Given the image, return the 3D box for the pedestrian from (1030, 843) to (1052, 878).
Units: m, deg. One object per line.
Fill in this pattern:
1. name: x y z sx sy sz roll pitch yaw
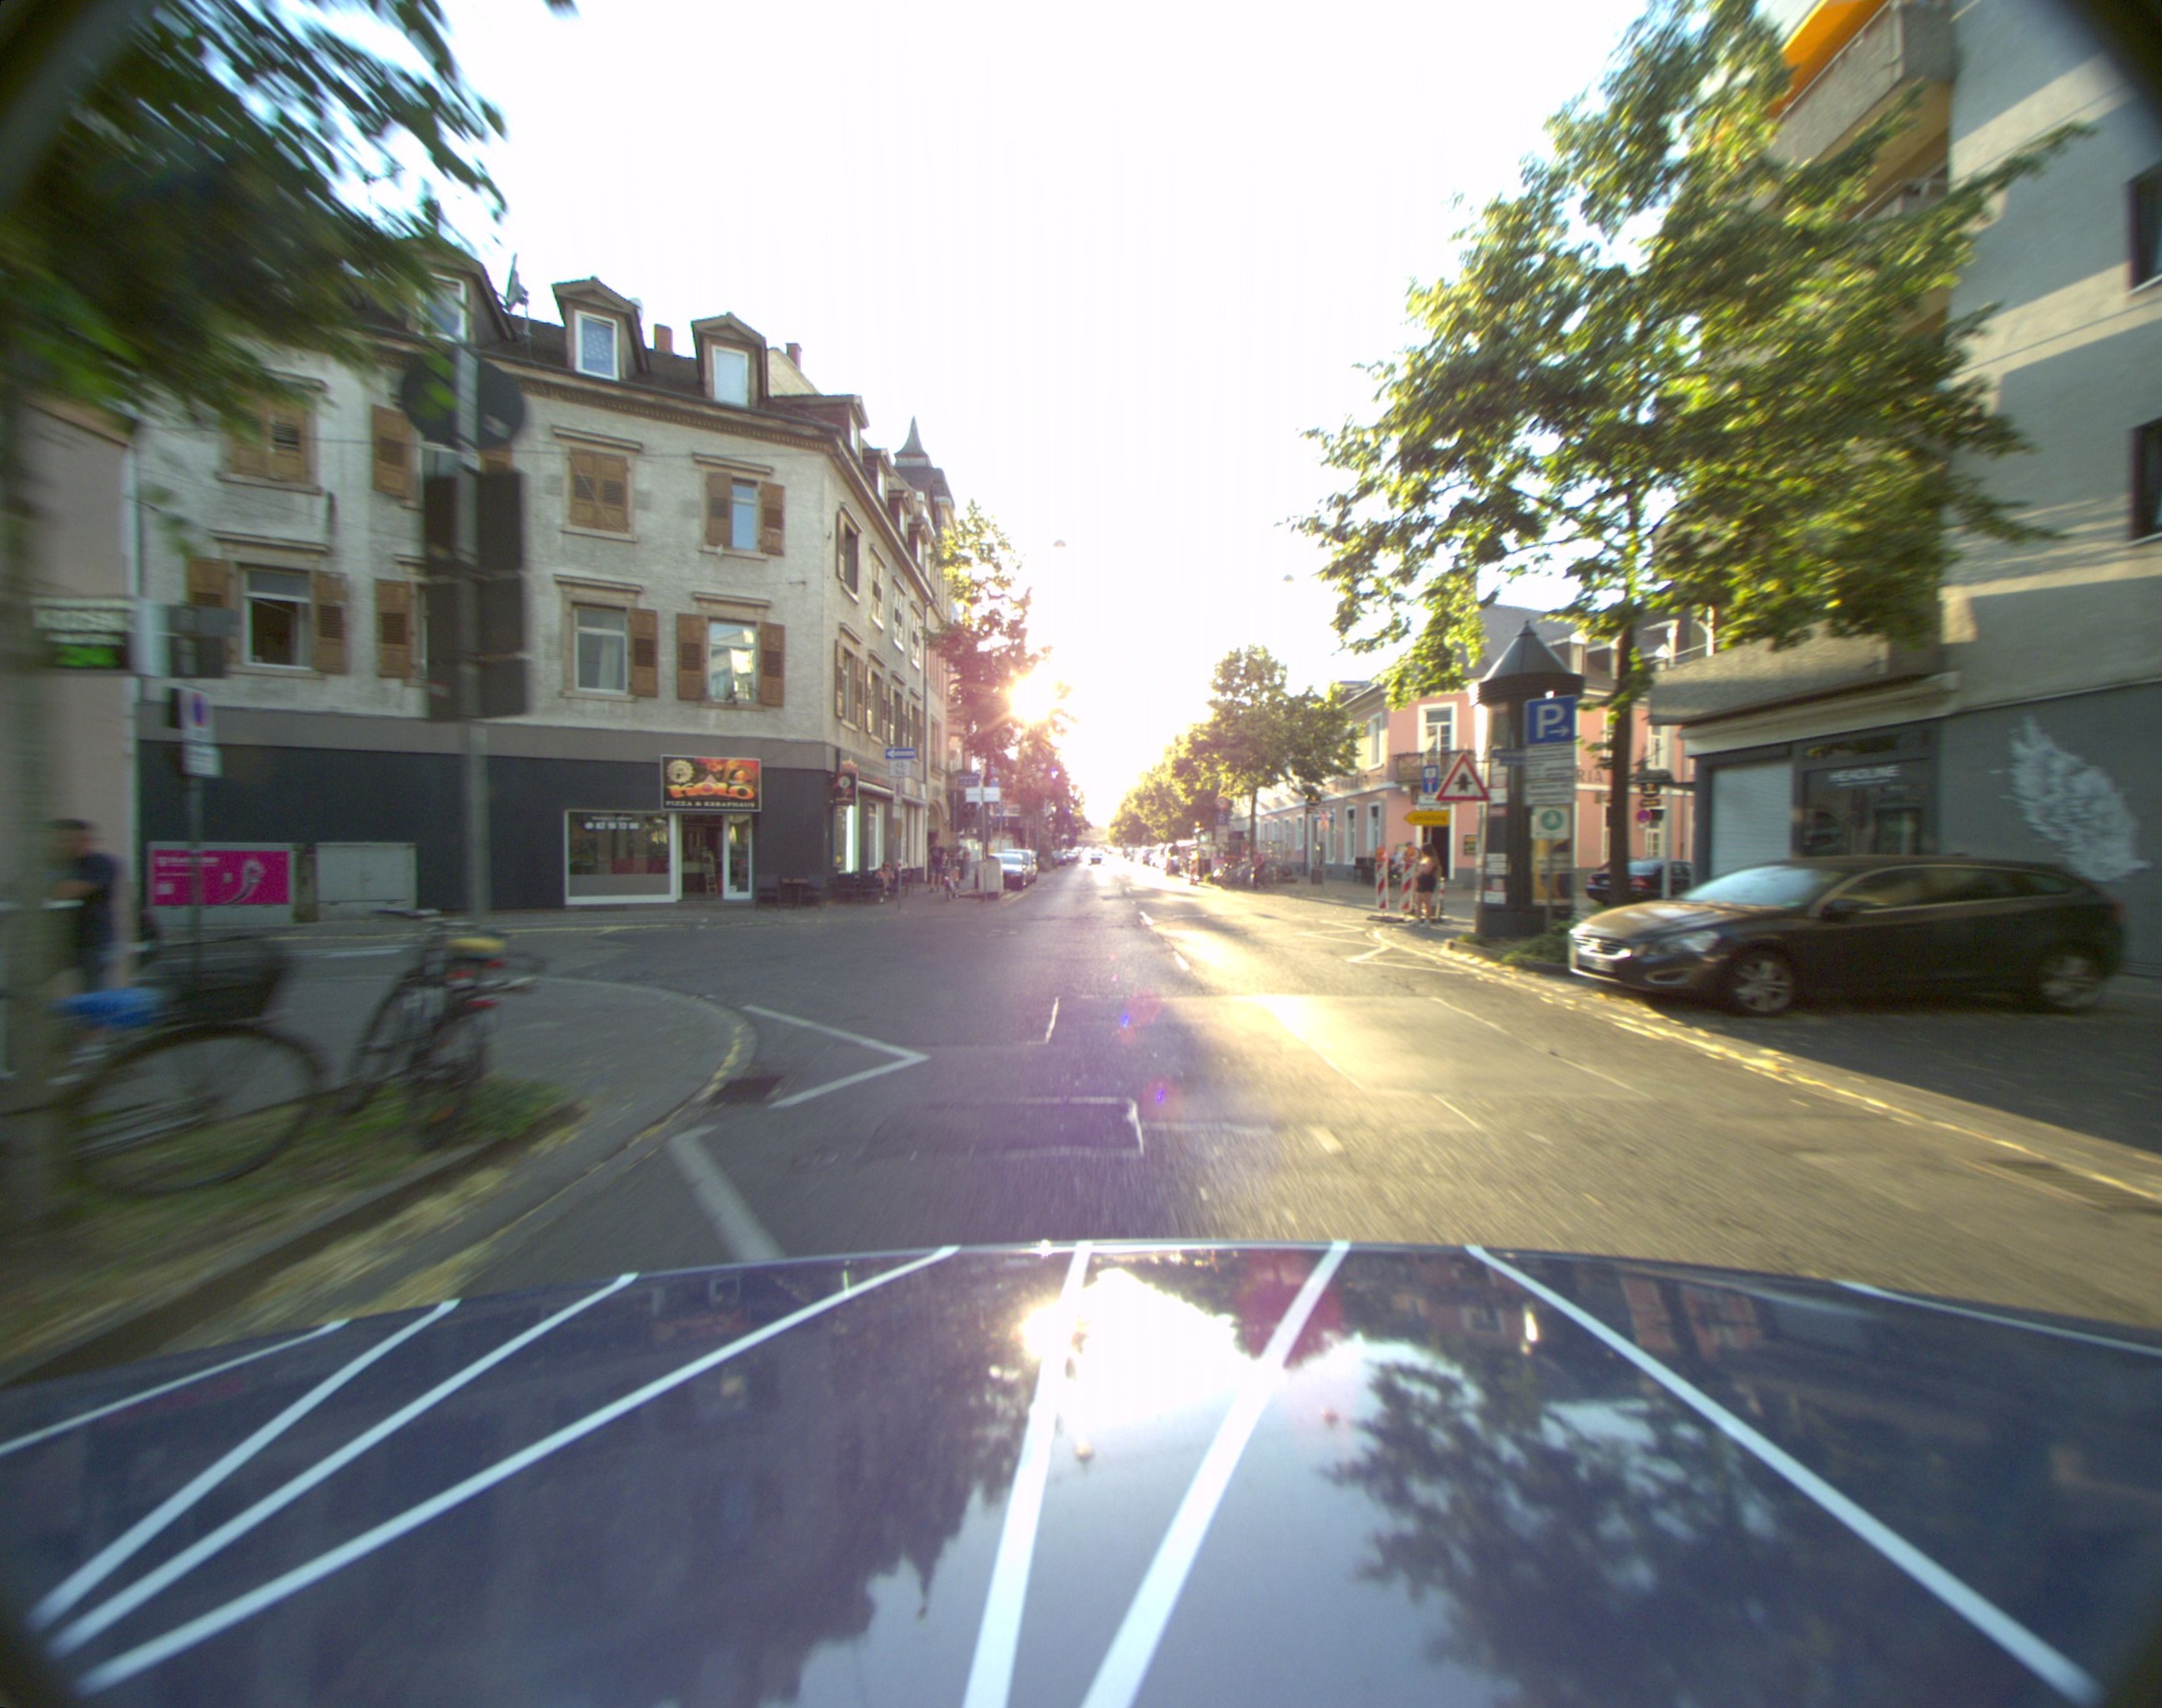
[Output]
1. pedestrian: -2.180 0.353 41.285 1.017 1.815 0.779 3 1 -9

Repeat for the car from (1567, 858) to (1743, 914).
1. car: 15.879 0.821 21.046 4.213 1.372 1.996 0 1 -22

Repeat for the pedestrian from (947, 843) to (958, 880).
1. pedestrian: -6.480 0.363 38.223 0.462 1.864 0.500 1 1 -14

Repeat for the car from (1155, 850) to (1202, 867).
1. car: 8.629 0.371 67.469 3.932 1.492 1.905 -1 0 3

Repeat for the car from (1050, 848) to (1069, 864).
1. car: -2.135 0.149 76.591 1.833 1.479 4.848 2 0 -1

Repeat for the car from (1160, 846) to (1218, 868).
1. car: 8.149 0.220 57.618 4.139 1.627 1.860 -1 0 2

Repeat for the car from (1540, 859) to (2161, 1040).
1. car: 7.461 0.861 7.681 4.558 1.532 1.811 -1 1 0

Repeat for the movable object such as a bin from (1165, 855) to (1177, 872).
1. movable object such as a bin: 5.896 0.630 49.872 0.691 1.099 0.883 1 1 3

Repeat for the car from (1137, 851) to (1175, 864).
1. car: 8.440 0.389 85.575 4.047 1.475 1.963 0 0 1

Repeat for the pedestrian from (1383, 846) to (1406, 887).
1. pedestrian: 12.811 0.495 31.058 0.506 1.641 0.720 0 3 -9

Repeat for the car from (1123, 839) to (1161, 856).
1. car: 9.456 -1.041 118.457 5.672 2.606 2.171 -1 1 1

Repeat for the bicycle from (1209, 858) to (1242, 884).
1. bicycle: 6.639 0.770 34.823 1.551 1.110 0.443 -3 2 -32

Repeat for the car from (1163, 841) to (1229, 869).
1. car: 8.277 0.064 54.983 4.495 1.964 1.965 -1 0 -1

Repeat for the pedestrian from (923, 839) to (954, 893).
1. pedestrian: -5.085 0.421 27.179 0.825 1.843 1.097 3 1 -1

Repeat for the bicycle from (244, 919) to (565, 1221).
1. bicycle: -3.505 0.943 3.885 1.955 1.067 0.707 0 1 33

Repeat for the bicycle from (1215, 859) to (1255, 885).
1. bicycle: 6.874 0.817 33.929 1.687 1.072 0.444 -2 2 0

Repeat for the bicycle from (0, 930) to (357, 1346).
1. bicycle: -3.614 0.924 2.388 0.598 1.171 1.849 0 1 20

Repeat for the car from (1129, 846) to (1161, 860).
1. car: 9.049 -0.101 107.851 4.510 1.942 1.919 0 1 3

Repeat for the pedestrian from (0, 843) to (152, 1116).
1. pedestrian: -6.506 0.723 4.733 0.568 1.574 0.663 2 0 1

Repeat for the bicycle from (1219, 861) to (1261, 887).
1. bicycle: 6.684 0.857 32.022 1.686 1.016 0.444 -2 2 9

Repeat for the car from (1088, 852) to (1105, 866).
1. car: 1.543 0.478 76.914 1.684 1.453 4.071 0 0 0

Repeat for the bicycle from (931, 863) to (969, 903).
1. bicycle: -3.983 0.856 23.303 0.780 1.105 1.899 2 1 1

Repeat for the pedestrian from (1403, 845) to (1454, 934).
1. pedestrian: 6.738 0.675 14.779 0.711 1.676 0.834 0 1 10

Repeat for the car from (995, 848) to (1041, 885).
1. car: -2.886 0.533 35.504 1.691 1.566 4.013 3 0 1

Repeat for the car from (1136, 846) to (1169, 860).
1. car: 9.166 -0.110 97.479 4.147 1.796 1.807 0 0 3

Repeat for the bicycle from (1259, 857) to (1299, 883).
1. bicycle: 8.838 0.704 33.926 1.686 1.142 0.444 -1 2 4

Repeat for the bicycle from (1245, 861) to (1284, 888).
1. bicycle: 7.581 0.857 31.453 1.491 1.053 0.470 -1 2 -5

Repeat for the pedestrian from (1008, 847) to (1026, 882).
1. pedestrian: -3.234 0.513 38.390 0.680 1.696 0.824 3 1 -14

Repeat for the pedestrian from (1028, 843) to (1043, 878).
1. pedestrian: -2.315 0.323 38.557 0.679 1.744 0.824 1 1 -9

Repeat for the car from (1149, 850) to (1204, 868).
1. car: 8.104 0.398 64.437 4.338 1.492 1.841 -1 0 -4

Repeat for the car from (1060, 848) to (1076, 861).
1. car: -1.743 0.010 101.102 1.884 1.565 4.692 3 0 1

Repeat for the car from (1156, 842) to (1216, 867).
1. car: 8.313 0.043 60.279 4.494 1.964 2.068 0 0 1

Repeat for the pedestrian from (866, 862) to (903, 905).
1. pedestrian: -5.676 0.848 22.043 0.683 1.135 1.360 2 2 1

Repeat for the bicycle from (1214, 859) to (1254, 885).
1. bicycle: 6.705 0.802 33.339 1.686 1.072 0.444 -2 2 9

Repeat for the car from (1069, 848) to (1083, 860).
1. car: -0.660 -0.004 106.799 1.846 1.472 5.189 3 0 1

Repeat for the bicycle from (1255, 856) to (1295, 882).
1. bicycle: 8.820 0.692 34.588 1.686 1.142 0.444 -1 2 4

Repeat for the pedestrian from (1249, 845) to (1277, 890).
1. pedestrian: 7.219 0.530 30.172 0.818 1.755 1.039 0 1 -2

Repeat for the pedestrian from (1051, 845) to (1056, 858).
1. pedestrian: -4.240 -0.400 116.296 0.627 1.857 0.976 3 1 1

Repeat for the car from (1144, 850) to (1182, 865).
1. car: 8.916 0.368 83.100 4.046 1.546 1.965 0 0 3

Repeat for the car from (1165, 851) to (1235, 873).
1. car: 8.064 0.553 51.856 4.604 1.461 1.893 -1 0 4

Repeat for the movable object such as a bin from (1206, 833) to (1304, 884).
1. movable object such as a bin: 9.158 0.209 39.696 2.307 2.481 5.767 1 1 44

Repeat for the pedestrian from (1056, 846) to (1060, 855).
1. pedestrian: -4.297 -0.639 144.085 0.756 1.748 0.812 1 1 1

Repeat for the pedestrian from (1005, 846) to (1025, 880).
1. pedestrian: -3.386 0.456 39.001 0.654 1.690 0.666 2 1 -43

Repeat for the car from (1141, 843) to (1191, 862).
1. car: 8.646 -0.127 77.723 4.882 1.897 1.974 0 0 1

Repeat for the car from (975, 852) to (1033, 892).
1. car: -3.009 0.672 30.650 1.789 1.367 4.523 3 0 1

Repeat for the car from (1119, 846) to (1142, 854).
1. car: 9.752 -0.745 149.971 4.393 1.414 1.822 -1 0 1

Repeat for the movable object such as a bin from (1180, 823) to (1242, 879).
1. movable object such as a bin: 7.156 -0.180 42.408 2.631 2.952 5.303 0 1 1

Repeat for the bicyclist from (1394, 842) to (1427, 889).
1. bicyclist: 10.306 0.359 23.759 0.744 1.449 0.585 0 -1 -15

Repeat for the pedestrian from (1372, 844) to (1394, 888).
1. pedestrian: 12.115 0.485 30.515 0.506 1.728 0.720 0 3 -9

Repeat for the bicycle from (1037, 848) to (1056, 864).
1. bicycle: -2.564 0.181 55.867 0.482 1.136 1.684 4 1 31

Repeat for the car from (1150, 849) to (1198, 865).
1. car: 8.931 0.281 73.094 4.488 1.476 1.734 -1 0 3

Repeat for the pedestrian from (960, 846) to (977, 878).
1. pedestrian: -5.661 0.406 38.204 0.660 1.553 0.701 3 1 1

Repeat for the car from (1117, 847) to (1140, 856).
1. car: 9.854 -0.579 157.804 4.718 1.800 2.053 -1 0 2

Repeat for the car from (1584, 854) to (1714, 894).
1. car: 22.154 0.731 29.658 4.534 1.462 1.994 0 0 -22

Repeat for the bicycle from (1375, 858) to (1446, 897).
1. bicycle: 10.322 0.737 23.773 2.126 1.185 0.585 0 -1 -15

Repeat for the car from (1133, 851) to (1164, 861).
1. car: 9.337 0.266 105.009 4.162 1.431 1.594 0 0 2

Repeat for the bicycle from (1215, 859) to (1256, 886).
1. bicycle: 6.636 0.805 32.758 1.686 1.072 0.444 -2 2 9

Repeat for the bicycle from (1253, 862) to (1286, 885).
1. bicycle: 8.150 0.845 32.868 1.327 0.974 0.444 -1 2 4
